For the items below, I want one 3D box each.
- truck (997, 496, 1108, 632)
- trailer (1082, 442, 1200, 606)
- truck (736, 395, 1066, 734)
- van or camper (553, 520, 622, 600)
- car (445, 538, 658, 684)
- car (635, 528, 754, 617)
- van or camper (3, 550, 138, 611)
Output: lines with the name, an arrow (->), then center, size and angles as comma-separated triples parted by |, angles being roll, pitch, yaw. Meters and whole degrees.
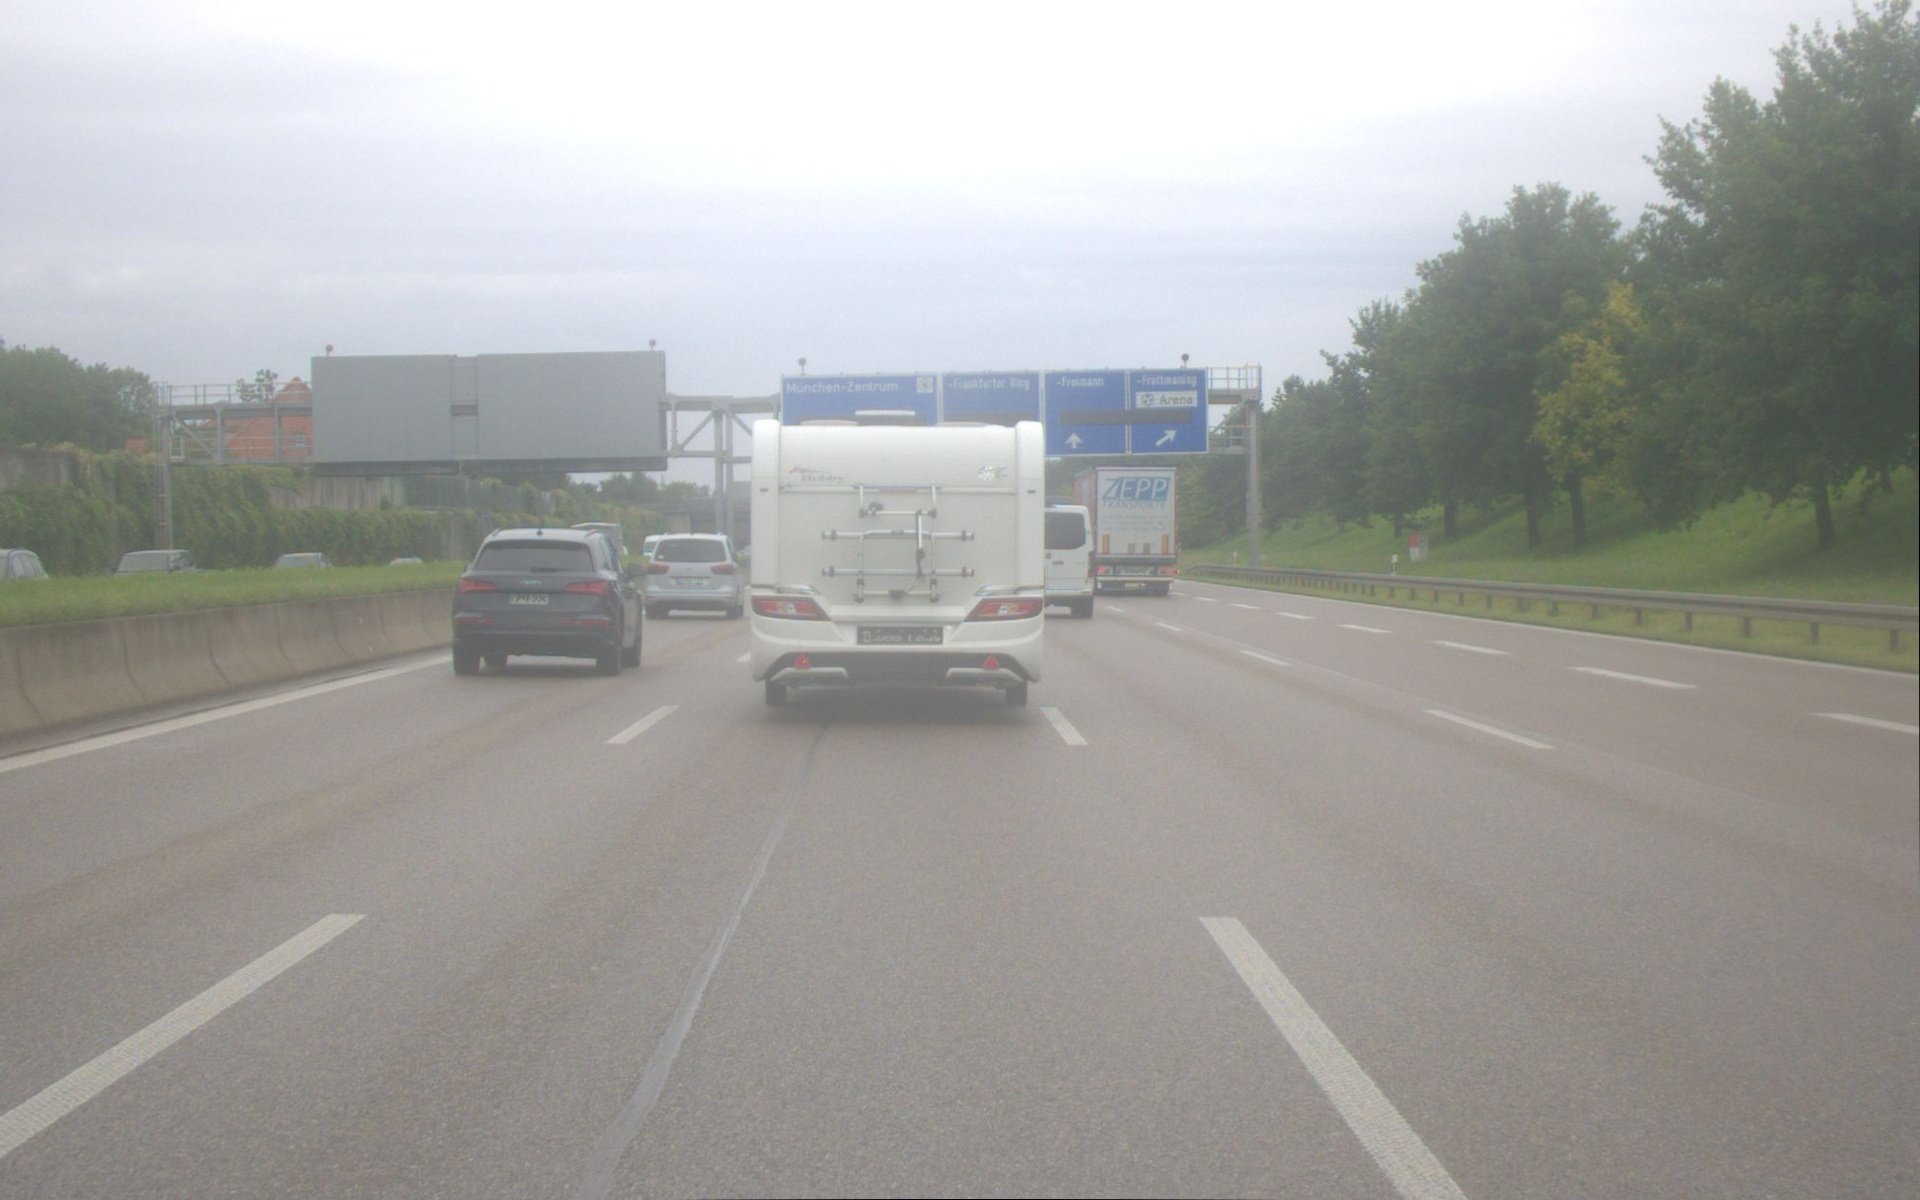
truck -> 1.938, -0.771, 73.817 | 2.053, 2.760, 5.549 | 1, 1, -1
trailer -> 5.708, -2.374, 110.409 | 3.100, 4.905, 11.790 | 1, 1, 0
truck -> -0.539, -0.317, 30.697 | 2.661, 2.733, 5.078 | 1, 1, -1
van or camper -> -19.134, -2.060, 176.972 | 2.708, 3.935, 8.402 | 1, 1, -1
car -> -4.690, 0.089, 40.151 | 1.993, 1.594, 5.124 | 0, 1, -1
car -> -5.327, -0.570, 69.369 | 2.127, 1.700, 4.113 | 1, 1, -1
van or camper -> -27.456, -0.631, 106.447 | 2.191, 1.794, 8.437 | 1, 1, -2
